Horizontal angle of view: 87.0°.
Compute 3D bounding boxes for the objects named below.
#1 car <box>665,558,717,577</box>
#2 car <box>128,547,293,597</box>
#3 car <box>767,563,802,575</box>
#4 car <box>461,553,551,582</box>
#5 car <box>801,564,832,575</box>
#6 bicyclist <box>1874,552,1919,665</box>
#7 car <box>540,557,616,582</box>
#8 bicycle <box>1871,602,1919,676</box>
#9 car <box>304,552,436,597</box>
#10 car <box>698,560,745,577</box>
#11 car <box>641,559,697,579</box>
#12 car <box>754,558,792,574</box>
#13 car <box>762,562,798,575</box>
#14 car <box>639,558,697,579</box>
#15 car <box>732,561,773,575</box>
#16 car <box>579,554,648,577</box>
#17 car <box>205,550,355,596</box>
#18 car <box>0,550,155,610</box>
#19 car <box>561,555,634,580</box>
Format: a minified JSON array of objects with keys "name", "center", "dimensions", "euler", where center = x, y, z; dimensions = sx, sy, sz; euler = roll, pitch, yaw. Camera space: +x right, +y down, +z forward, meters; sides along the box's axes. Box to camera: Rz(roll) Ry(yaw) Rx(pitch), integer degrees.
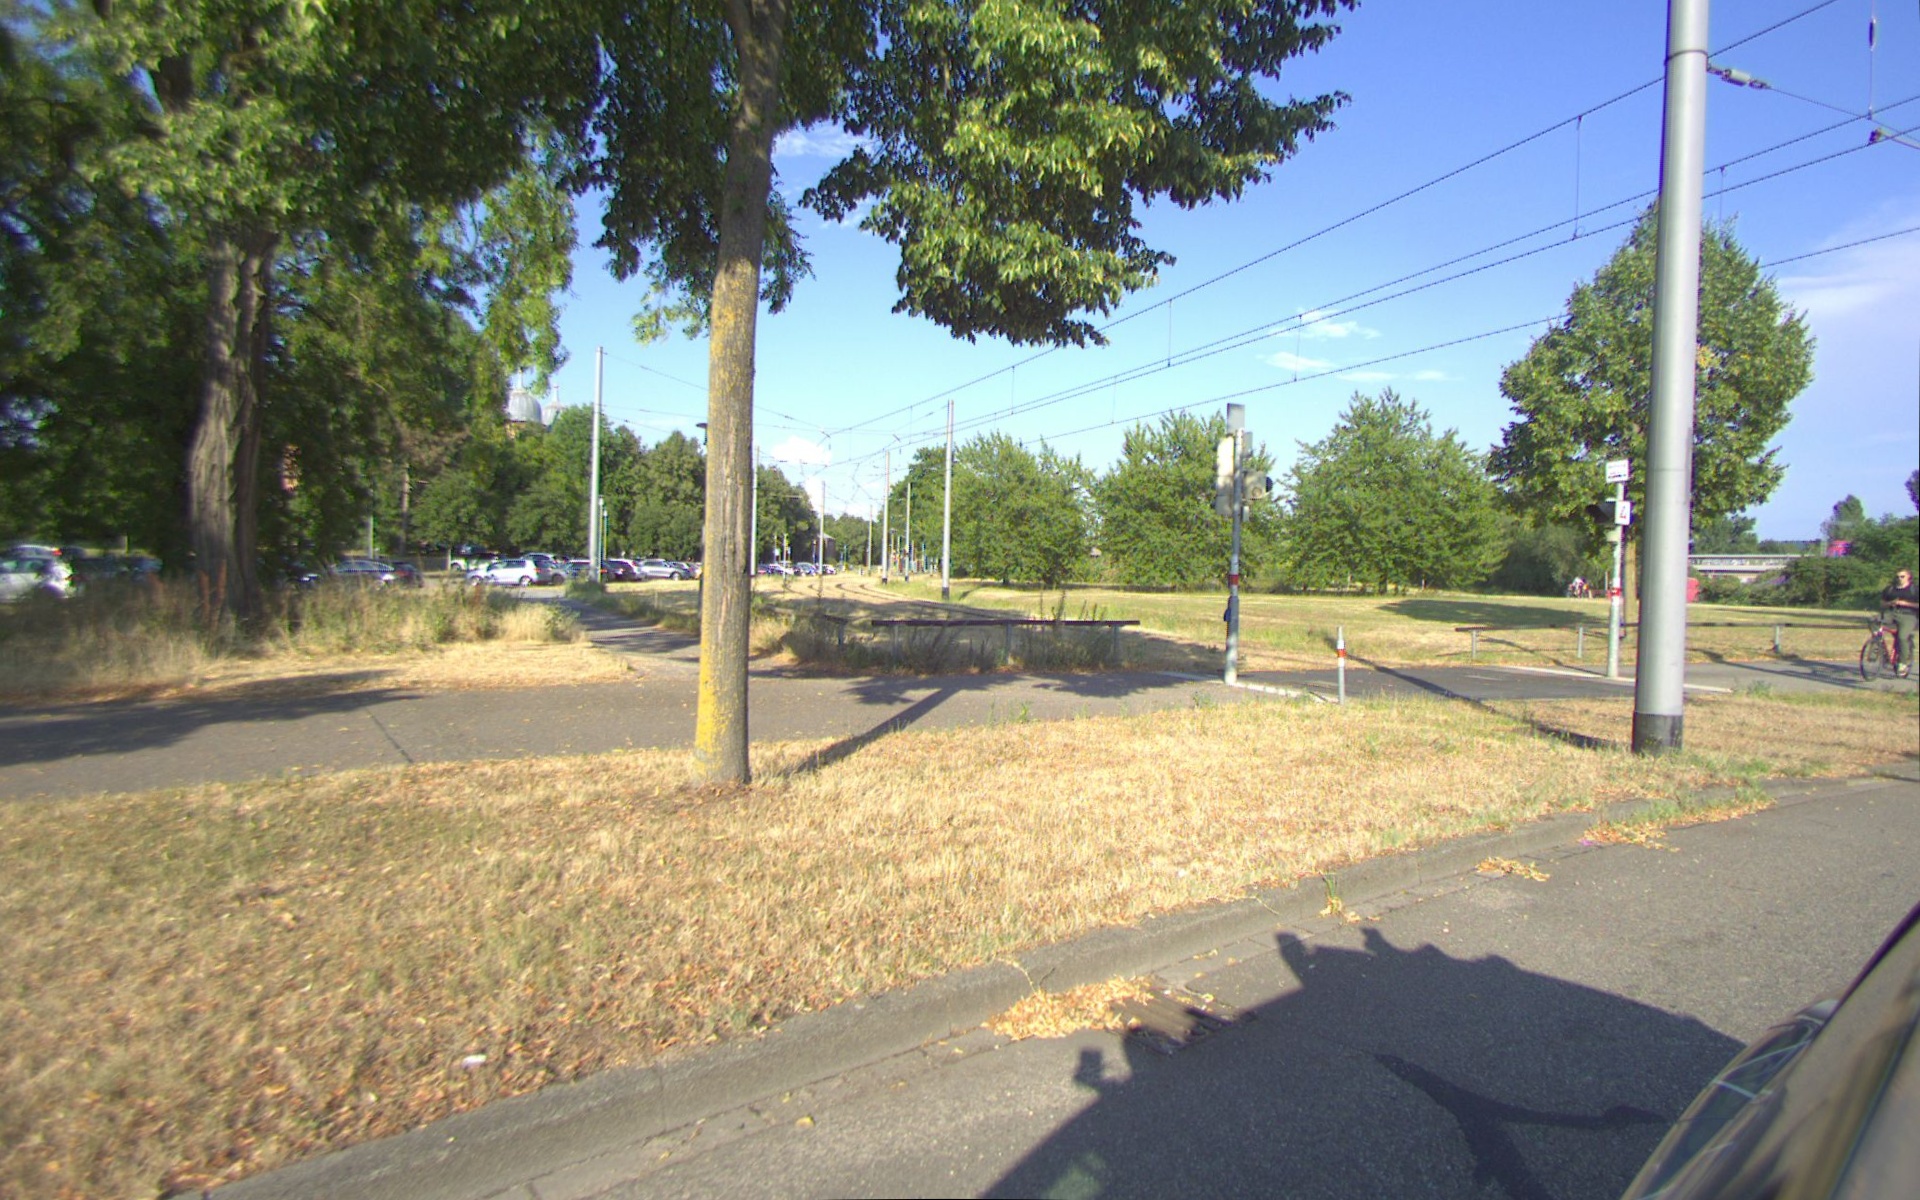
[{"name":"car","center":[-21.375,-2.600,80.584],"dimensions":[3.722,1.388,1.789],"euler":[1,2,-5]},{"name":"car","center":[-23.577,-0.893,31.946],"dimensions":[3.927,1.461,1.870],"euler":[1,2,3]},{"name":"car","center":[-19.639,-3.473,113.359],"dimensions":[3.722,1.307,1.789],"euler":[1,2,-5]},{"name":"car","center":[-22.821,-1.628,50.980],"dimensions":[3.727,1.388,1.786],"euler":[1,2,1]},{"name":"car","center":[-18.767,-3.983,132.410],"dimensions":[3.727,1.307,1.786],"euler":[1,2,1]},{"name":"bicyclist","center":[15.810,0.127,16.844],"dimensions":[0.922,1.823,0.727],"euler":[0,2,-41]},{"name":"car","center":[-22.023,-1.770,58.479],"dimensions":[3.727,1.388,1.786],"euler":[1,2,1]},{"name":"bicycle","center":[15.803,0.619,16.861],"dimensions":[2.088,1.137,0.640],"euler":[-1,2,-41]},{"name":"car","center":[-22.639,-0.985,38.938],"dimensions":[3.926,1.593,2.000],"euler":[1,2,2]},{"name":"car","center":[-20.783,-2.719,88.258],"dimensions":[3.722,1.388,1.789],"euler":[1,2,-5]},{"name":"car","center":[-21.524,-2.282,75.000],"dimensions":[3.722,1.388,1.789],"euler":[1,2,-5]},{"name":"car","center":[-19.235,-3.532,104.205],"dimensions":[3.722,1.530,1.789],"euler":[1,2,-5]},{"name":"car","center":[-19.698,-3.424,110.570],"dimensions":[3.722,1.307,1.789],"euler":[1,2,-5]},{"name":"car","center":[-20.953,-2.262,72.617],"dimensions":[3.722,1.388,1.789],"euler":[1,2,-5]},{"name":"car","center":[-20.490,-3.178,100.067],"dimensions":[3.722,1.307,1.789],"euler":[1,2,-5]},{"name":"car","center":[-21.892,-2.173,64.037],"dimensions":[3.727,1.388,1.786],"euler":[1,2,1]},{"name":"car","center":[-23.077,-0.919,34.432],"dimensions":[3.927,1.461,1.870],"euler":[1,2,3]},{"name":"car","center":[-23.491,-0.544,26.197],"dimensions":[3.927,1.461,1.870],"euler":[1,2,3]},{"name":"car","center":[-21.706,-1.955,60.648],"dimensions":[3.727,1.388,1.786],"euler":[1,2,1]}]
